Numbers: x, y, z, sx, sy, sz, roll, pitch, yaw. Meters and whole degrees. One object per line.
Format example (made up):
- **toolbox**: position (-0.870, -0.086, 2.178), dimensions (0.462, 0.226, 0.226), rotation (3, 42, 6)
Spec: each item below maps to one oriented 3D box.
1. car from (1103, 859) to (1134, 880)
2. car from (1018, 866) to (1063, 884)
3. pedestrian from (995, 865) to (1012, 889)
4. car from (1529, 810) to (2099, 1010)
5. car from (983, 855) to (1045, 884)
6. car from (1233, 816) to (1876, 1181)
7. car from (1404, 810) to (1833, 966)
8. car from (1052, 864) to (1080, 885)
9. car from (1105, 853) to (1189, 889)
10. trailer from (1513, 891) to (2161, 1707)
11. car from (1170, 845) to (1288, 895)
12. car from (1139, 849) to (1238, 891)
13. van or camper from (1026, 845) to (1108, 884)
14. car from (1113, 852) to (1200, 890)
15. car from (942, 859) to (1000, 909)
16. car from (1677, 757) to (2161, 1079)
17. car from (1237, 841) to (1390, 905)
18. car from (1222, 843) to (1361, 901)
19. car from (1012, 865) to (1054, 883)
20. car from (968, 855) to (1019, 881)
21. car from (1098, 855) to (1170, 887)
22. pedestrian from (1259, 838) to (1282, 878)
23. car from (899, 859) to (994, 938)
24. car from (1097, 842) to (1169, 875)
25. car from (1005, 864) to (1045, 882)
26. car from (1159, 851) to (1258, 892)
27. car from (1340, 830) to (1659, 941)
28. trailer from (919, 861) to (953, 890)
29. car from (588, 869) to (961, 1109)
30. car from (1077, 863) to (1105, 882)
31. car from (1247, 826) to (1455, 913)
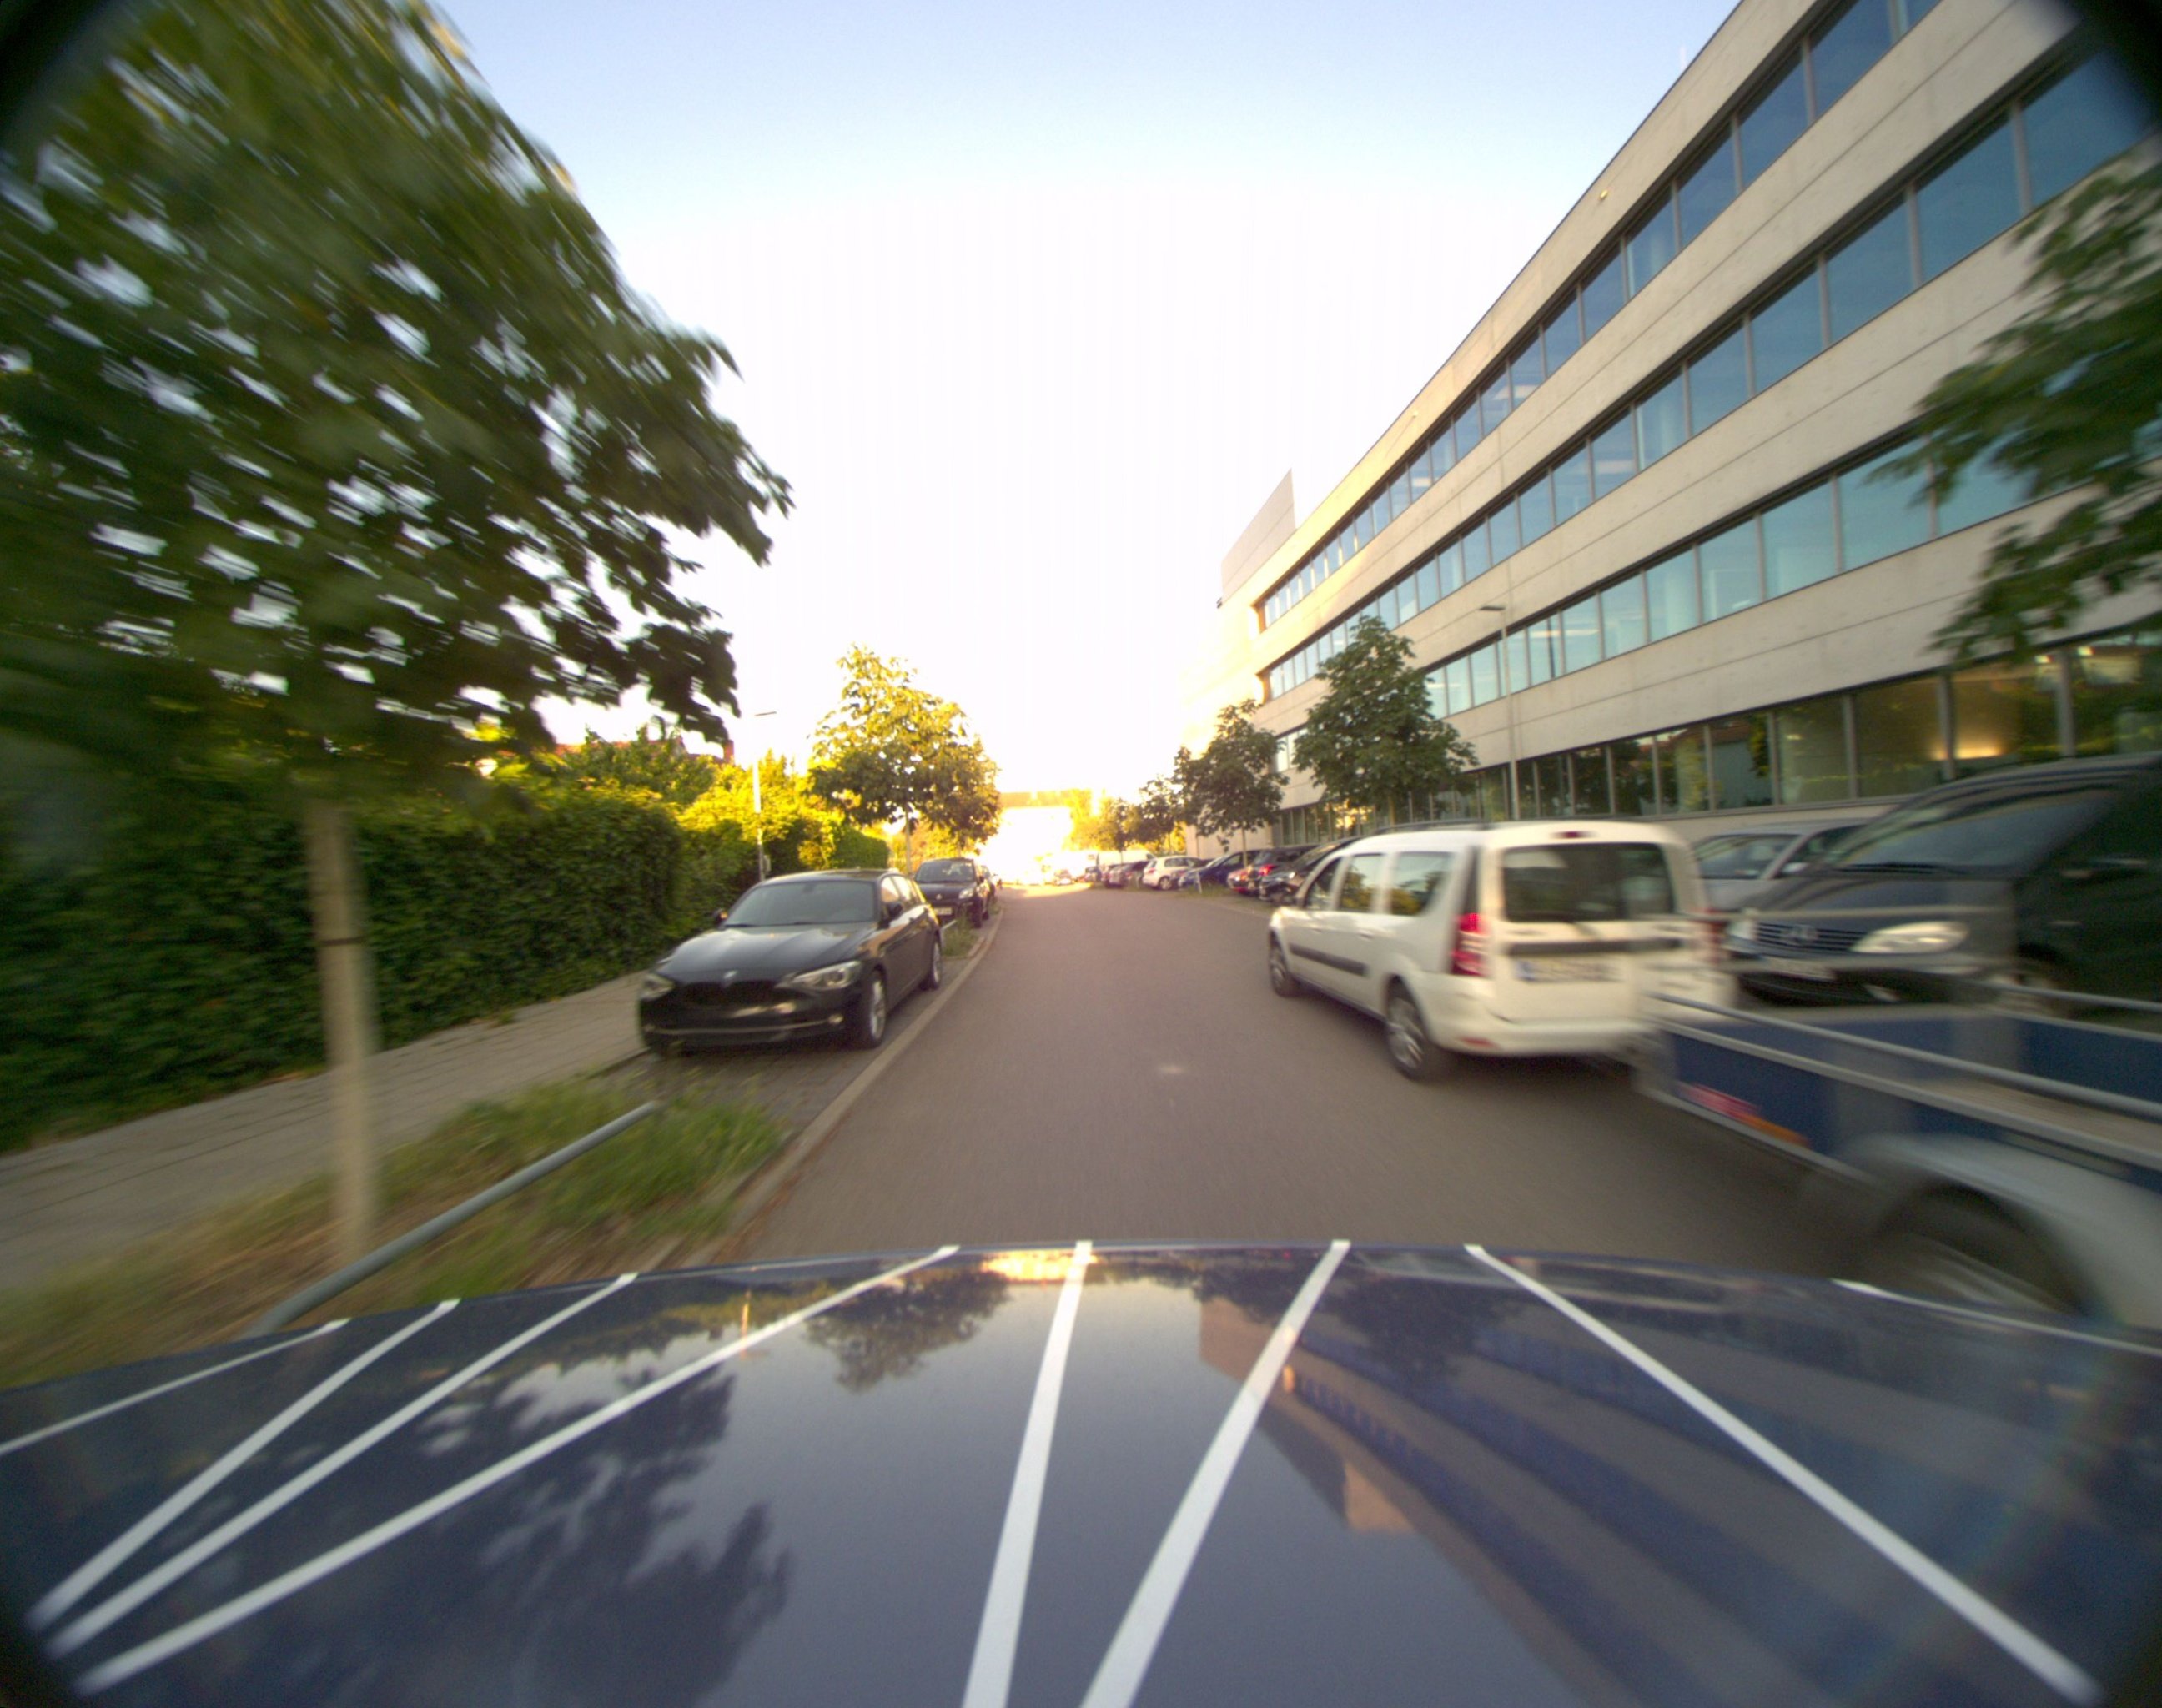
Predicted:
- **car**: position (3.133, 1.268, 64.274), dimensions (1.668, 1.471, 4.200), rotation (-6, 1, -9)
- **car**: position (-3.874, 1.994, 72.747), dimensions (3.823, 1.321, 1.690), rotation (-5, 0, -21)
- **pedestrian**: position (-6.243, 1.856, 61.408), dimensions (0.854, 1.839, 0.904), rotation (-4, -1, 31)
- **car**: position (7.220, 0.504, 7.796), dimensions (4.155, 1.396, 1.724), rotation (-6, 1, -1)
- **car**: position (-7.160, 1.644, 80.929), dimensions (5.911, 2.519, 2.408), rotation (-6, 1, -19)
- **car**: position (2.817, 0.662, 6.063), dimensions (1.958, 1.676, 4.720), rotation (-3, 1, -3)
- **car**: position (7.007, 0.424, 10.284), dimensions (4.408, 1.490, 1.763), rotation (-6, 1, 2)
- **car**: position (-1.289, 1.643, 62.946), dimensions (1.692, 1.510, 4.358), rotation (-5, 0, -8)
- **car**: position (3.608, 0.931, 41.757), dimensions (4.100, 1.519, 1.844), rotation (-5, 0, -14)
- **trailer**: position (2.786, 0.884, 1.664), dimensions (1.710, 1.341, 3.487), rotation (-3, 0, 1)
- **car**: position (5.528, 0.595, 28.646), dimensions (3.882, 1.502, 1.759), rotation (-5, -1, -7)
- **car**: position (4.834, 0.735, 34.342), dimensions (3.999, 1.502, 1.759), rotation (-5, -1, -7)
- **van or camper**: position (-1.288, 0.960, 68.329), dimensions (6.765, 2.880, 2.406), rotation (-5, 0, -15)
- **car**: position (3.872, 0.885, 38.897), dimensions (4.012, 1.503, 1.584), rotation (-5, -2, -14)
- **car**: position (-3.862, 1.026, 27.236), dimensions (1.716, 1.540, 4.547), rotation (-3, -1, -5)
- **car**: position (7.114, 0.263, 5.439), dimensions (4.258, 1.732, 1.724), rotation (-6, 1, -1)
- **car**: position (6.511, 0.516, 21.488), dimensions (3.713, 1.449, 1.678), rotation (-4, 0, -5)
- **car**: position (6.475, 0.532, 23.594), dimensions (3.713, 1.449, 1.710), rotation (-4, 0, -7)
- **car**: position (-4.748, 1.995, 75.506), dimensions (3.741, 1.359, 1.703), rotation (-5, 0, -23)
- **car**: position (-11.058, 1.797, 95.927), dimensions (5.850, 2.697, 2.047), rotation (-6, 0, -26)
- **car**: position (3.053, 0.992, 44.246), dimensions (3.747, 1.473, 1.768), rotation (-5, -1, -13)
- **pedestrian**: position (8.610, 0.178, 34.590), dimensions (0.648, 1.773, 0.724), rotation (-5, 0, -8)
- **car**: position (-2.917, 0.909, 17.138), dimensions (1.581, 1.501, 3.495), rotation (-3, 0, -2)
- **car**: position (4.989, 0.445, 73.067), dimensions (6.264, 2.657, 2.221), rotation (-5, 0, -14)
- **car**: position (-5.717, 1.973, 77.885), dimensions (3.643, 1.510, 1.703), rotation (-5, 0, -23)
- **car**: position (5.289, 0.715, 31.695), dimensions (3.645, 1.353, 1.685), rotation (-5, -1, -12)
- **car**: position (7.025, 0.515, 13.063), dimensions (4.445, 1.455, 1.763), rotation (-4, -1, -2)
- **trailer**: position (-12.239, 1.817, 64.005), dimensions (2.072, 2.198, 5.216), rotation (-3, -1, -18)
- **car**: position (-2.437, 0.972, 7.303), dimensions (1.697, 1.501, 4.193), rotation (-3, 0, 2)
- **car**: position (0.801, 1.532, 64.134), dimensions (1.668, 1.414, 3.719), rotation (-4, 0, -10)
- **car**: position (6.491, 0.361, 18.610), dimensions (4.320, 1.686, 1.896), rotation (-4, 0, -2)
